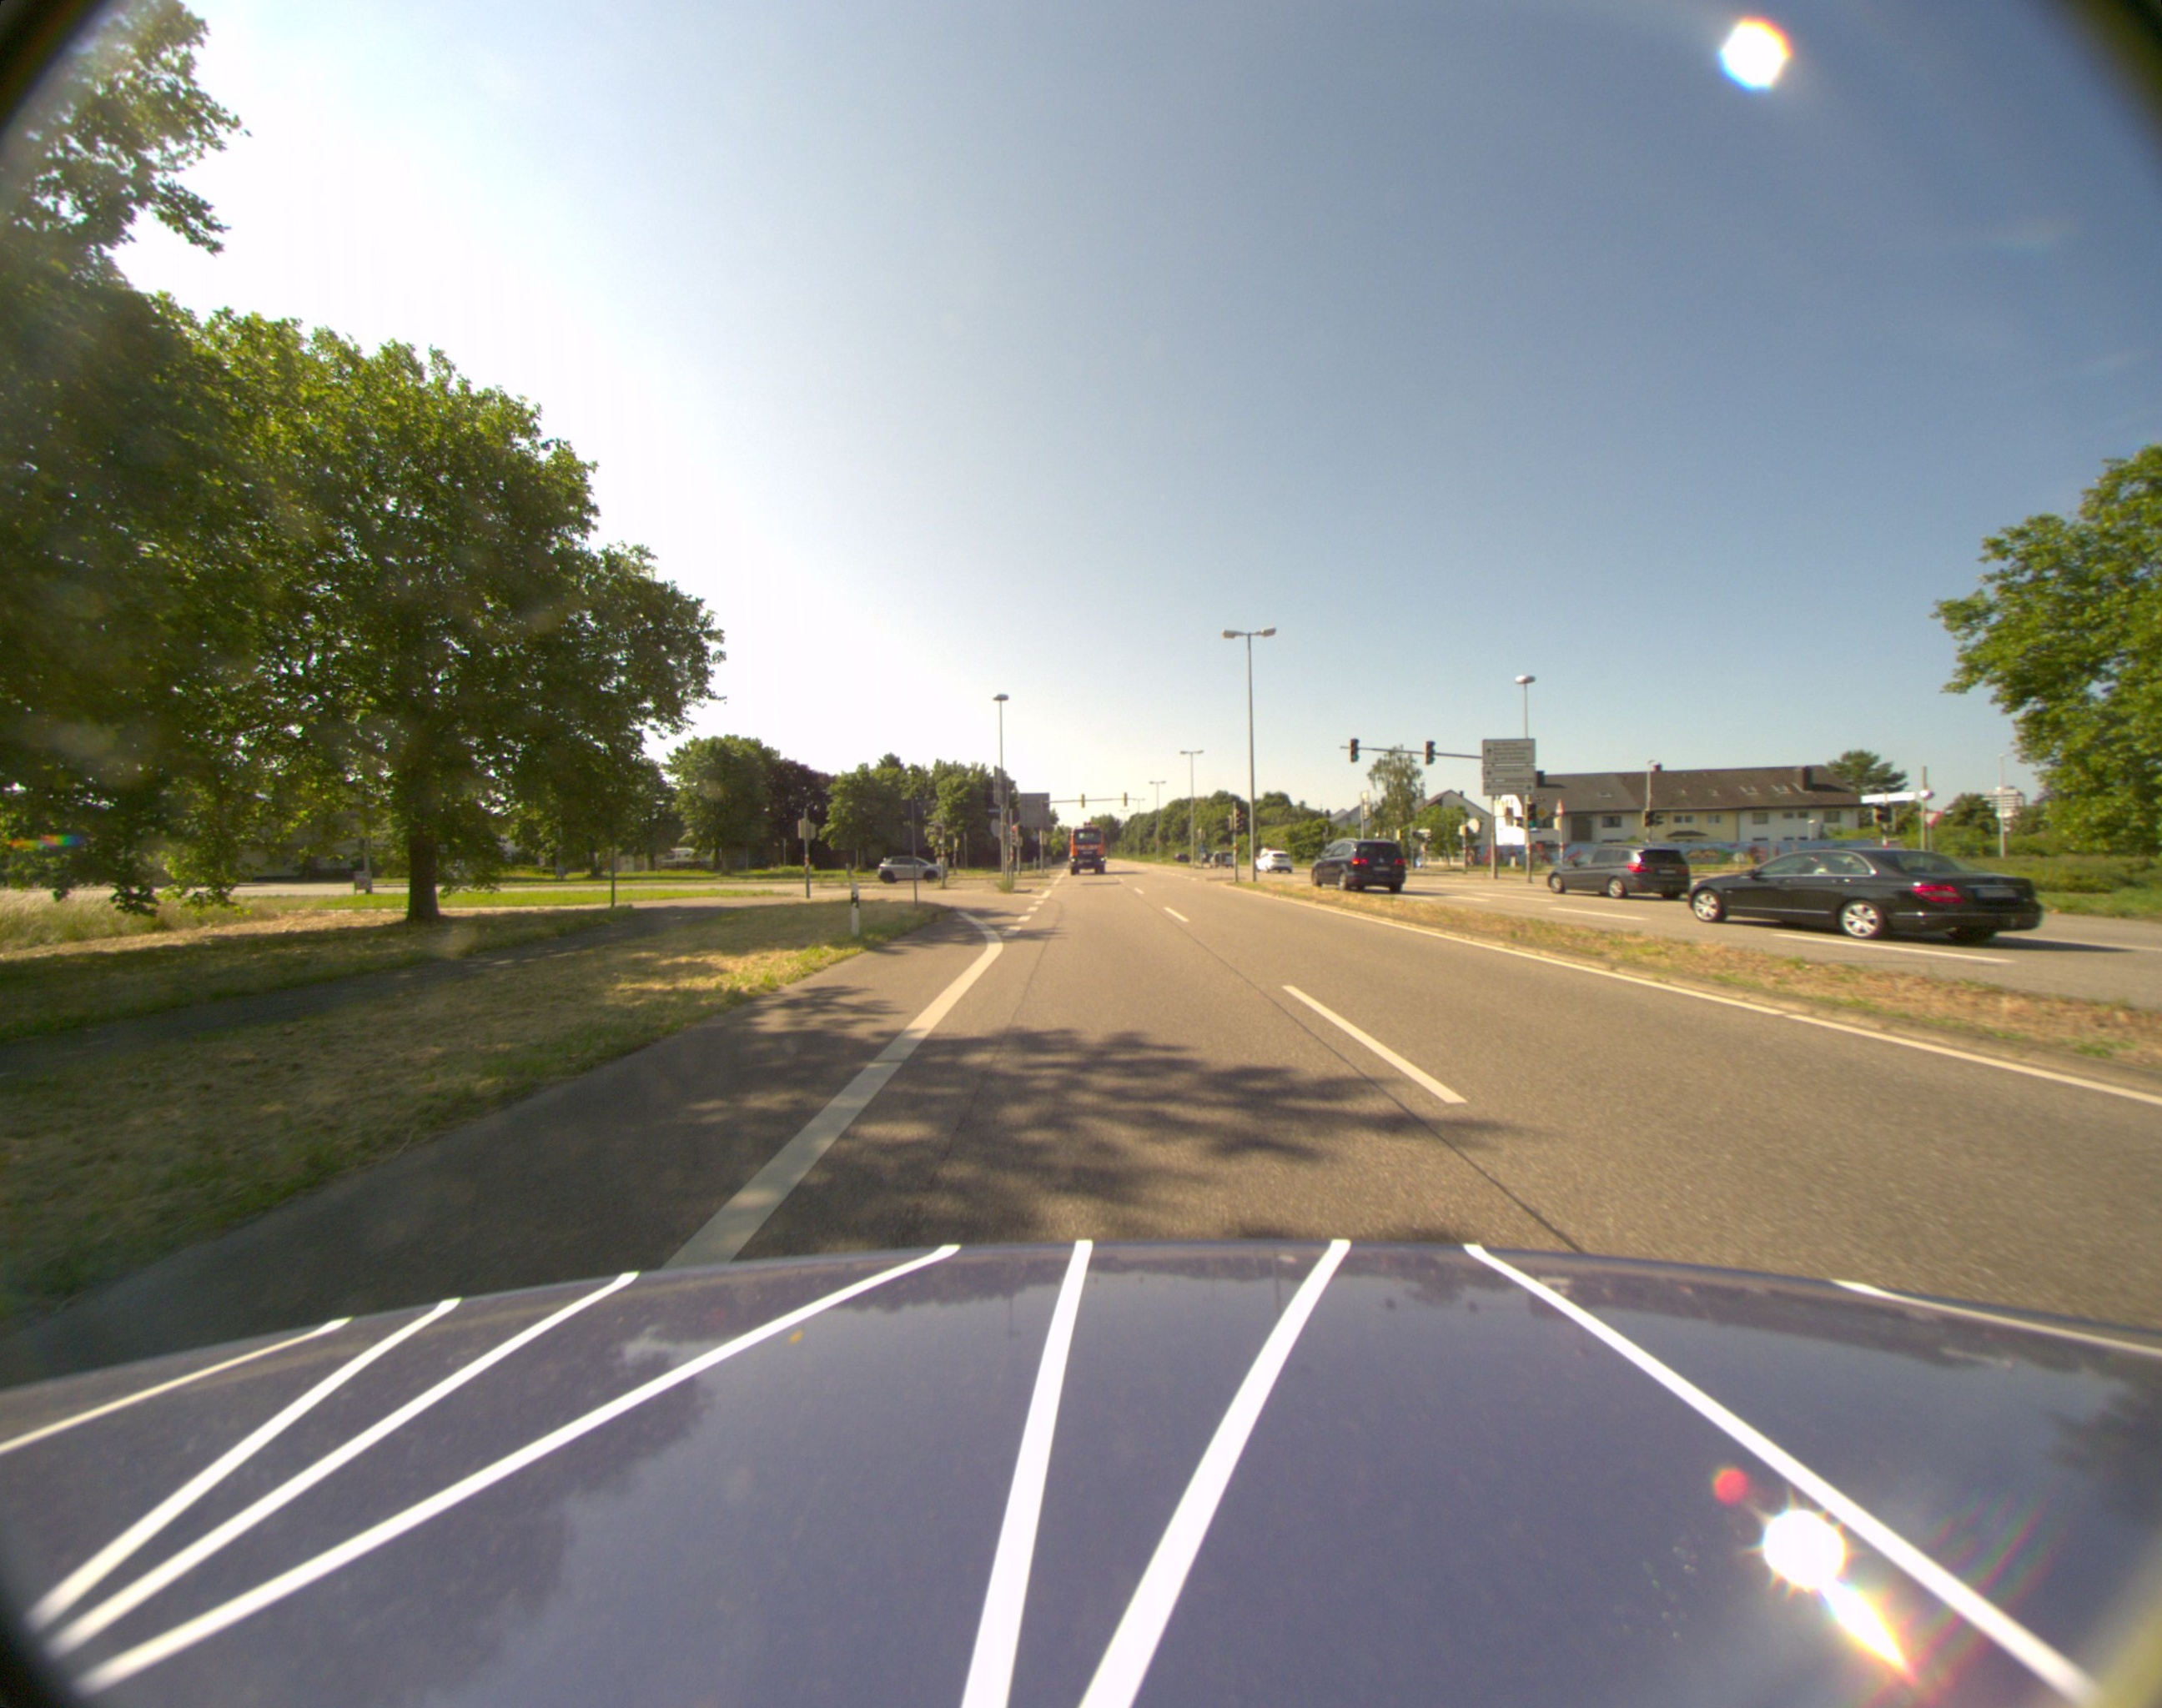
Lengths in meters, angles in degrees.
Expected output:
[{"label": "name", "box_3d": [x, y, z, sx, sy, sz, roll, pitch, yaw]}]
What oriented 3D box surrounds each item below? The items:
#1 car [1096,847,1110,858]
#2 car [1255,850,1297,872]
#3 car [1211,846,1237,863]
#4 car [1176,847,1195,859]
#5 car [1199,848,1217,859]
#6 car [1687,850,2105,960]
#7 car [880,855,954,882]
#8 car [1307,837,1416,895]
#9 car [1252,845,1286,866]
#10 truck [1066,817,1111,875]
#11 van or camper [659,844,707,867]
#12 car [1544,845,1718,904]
[{"label": "car", "box_3d": [3.493, -0.192, 122.251, 1.868, 1.500, 4.337, -3, 2, 6]}, {"label": "car", "box_3d": [13.065, 0.432, 51.096, 1.833, 1.378, 3.842, -1, 1, -1]}, {"label": "car", "box_3d": [12.623, 0.043, 67.259, 1.623, 1.449, 3.871, -1, 1, 0]}, {"label": "car", "box_3d": [13.206, -0.131, 95.996, 1.986, 1.449, 4.333, -1, 1, 3]}, {"label": "car", "box_3d": [16.584, -0.062, 99.374, 1.890, 1.449, 4.229, -1, 1, 3]}, {"label": "car", "box_3d": [12.649, 0.675, 12.366, 1.986, 1.449, 4.449, 0, 0, -1]}, {"label": "car", "box_3d": [-9.925, 0.859, 46.186, 4.062, 1.555, 1.742, -1, 1, 0]}, {"label": "car", "box_3d": [9.226, 0.349, 25.441, 1.986, 1.740, 4.507, 1, 1, 1]}, {"label": "car", "box_3d": [16.322, 0.135, 66.260, 1.709, 1.759, 4.227, 0, 0, -3]}, {"label": "truck", "box_3d": [0.553, -0.609, 55.323, 2.940, 3.853, 6.590, -2, 1, 1]}, {"label": "van or camper", "box_3d": [-49.964, 0.168, 95.438, 4.812, 2.815, 1.999, -1, 1, -2]}, {"label": "car", "box_3d": [16.727, 0.555, 23.472, 2.077, 1.613, 4.489, 1, 1, 0]}]
